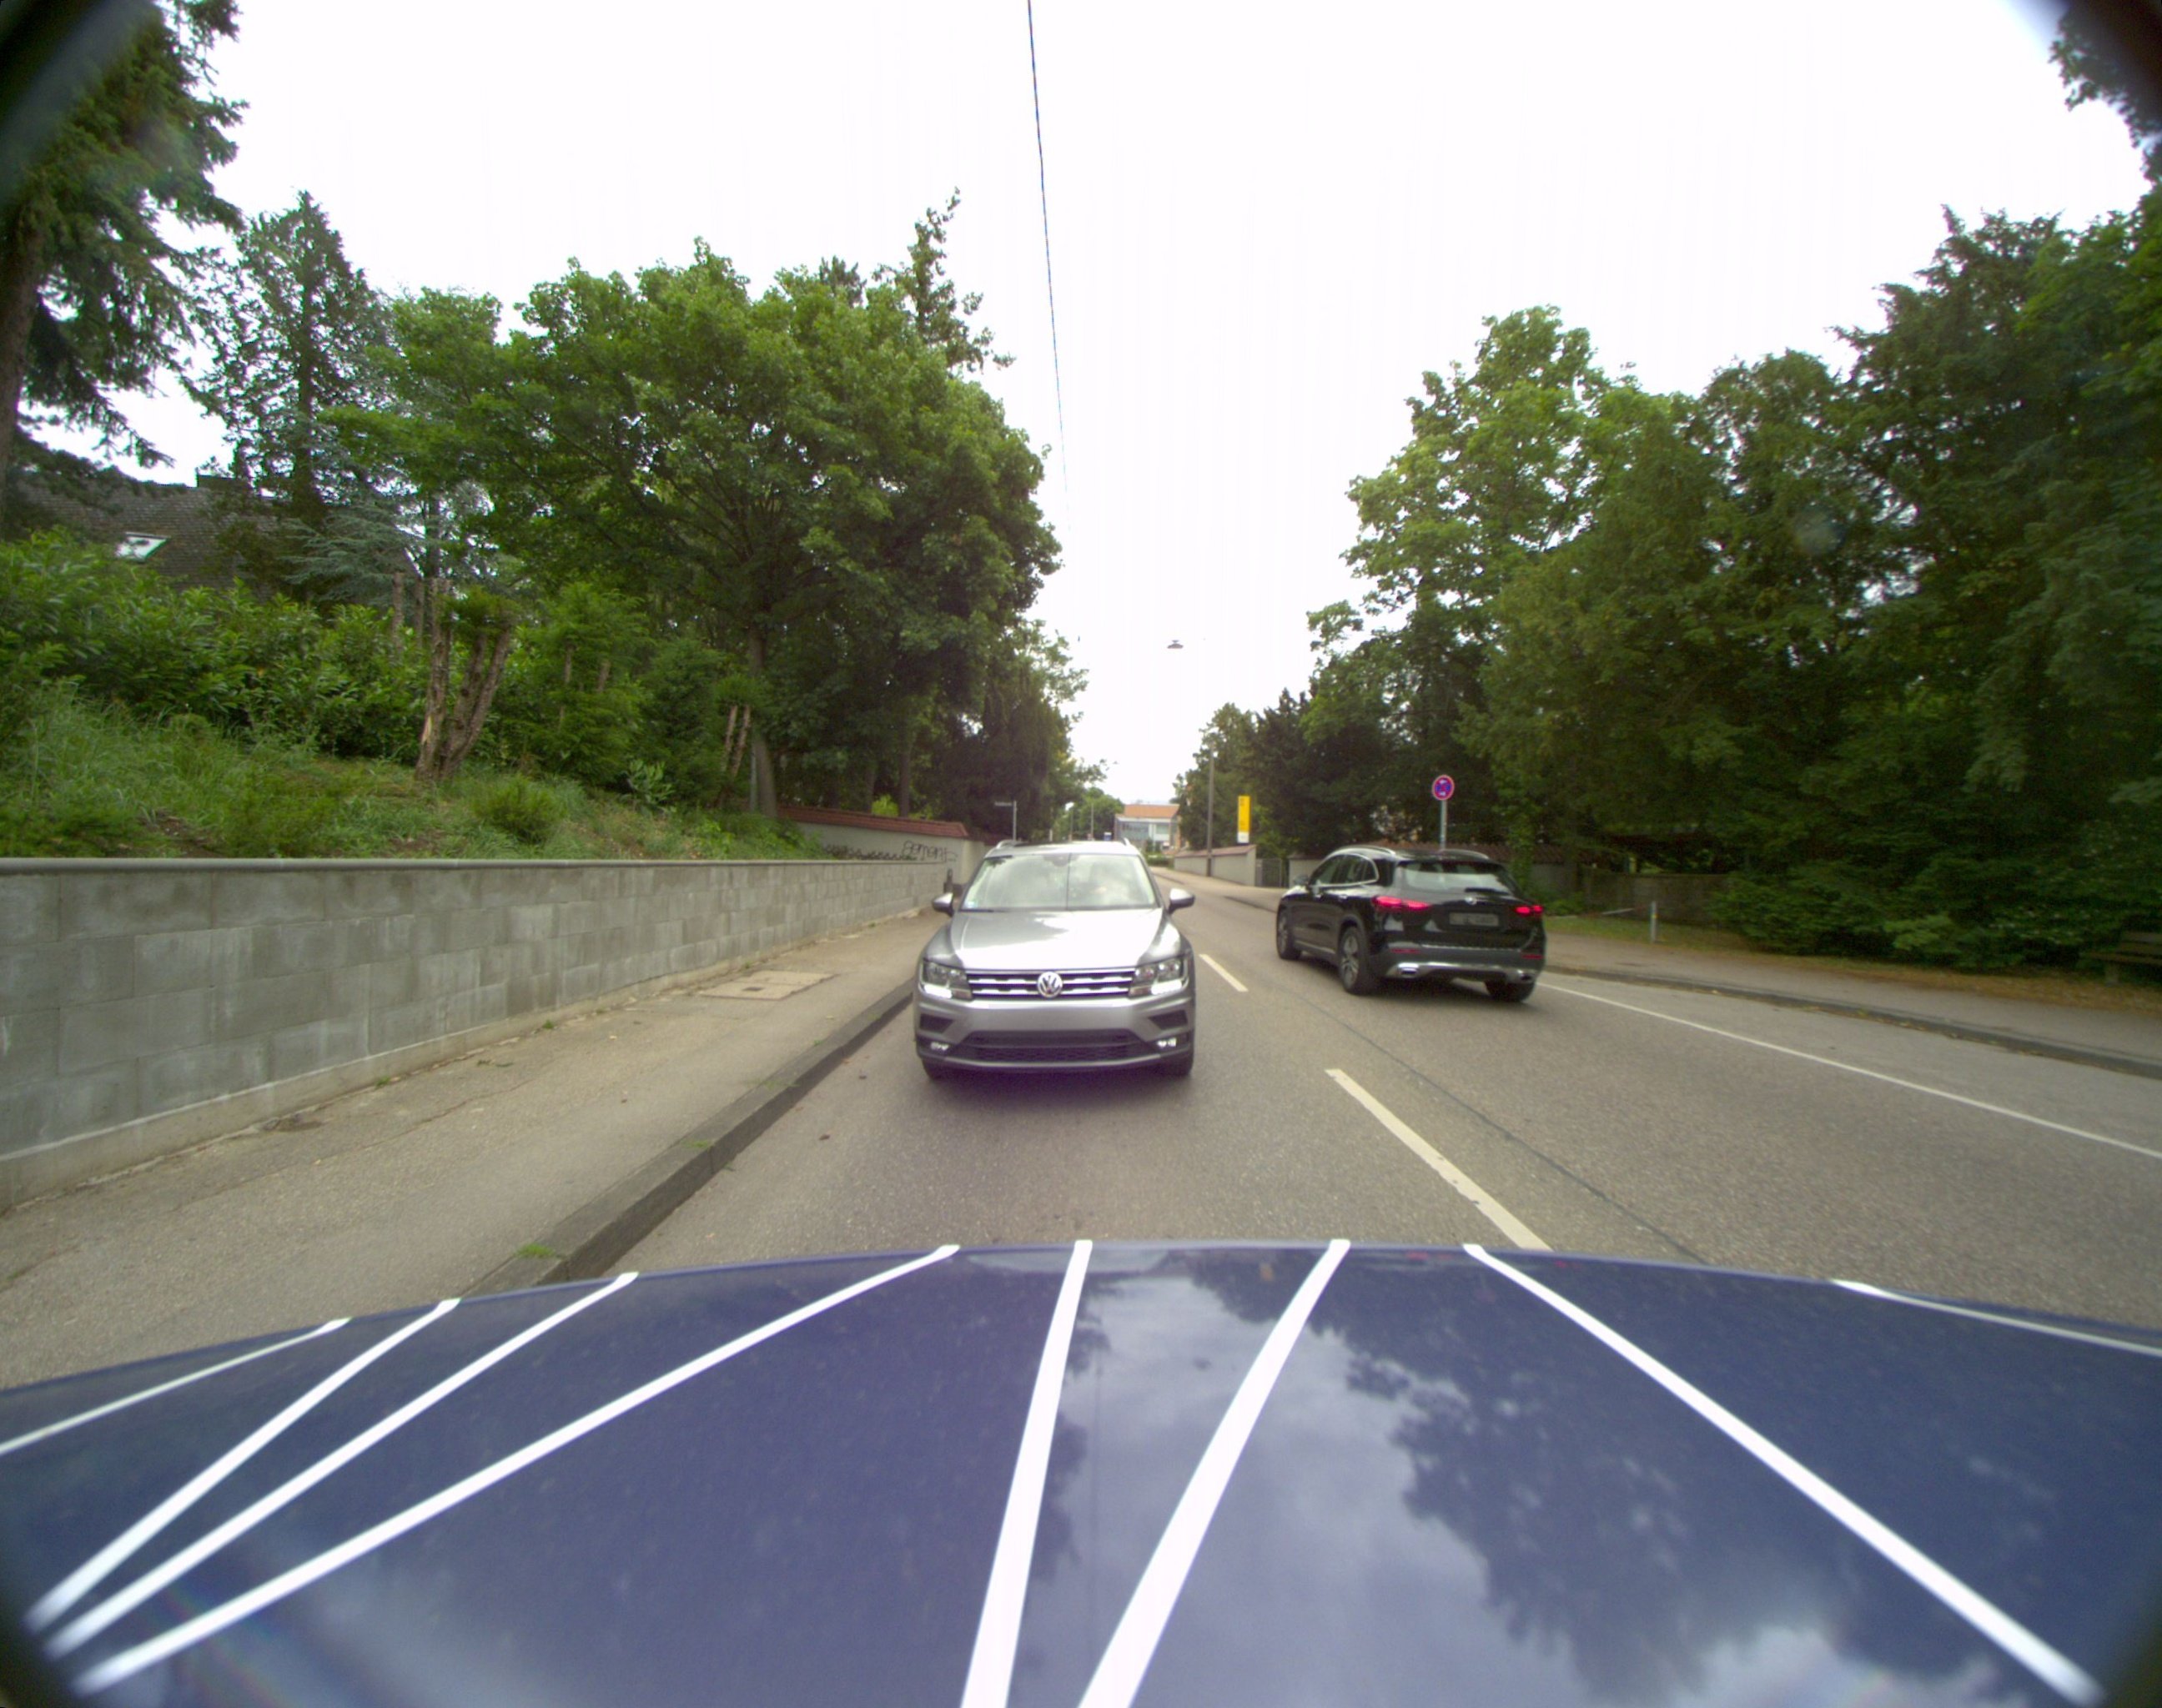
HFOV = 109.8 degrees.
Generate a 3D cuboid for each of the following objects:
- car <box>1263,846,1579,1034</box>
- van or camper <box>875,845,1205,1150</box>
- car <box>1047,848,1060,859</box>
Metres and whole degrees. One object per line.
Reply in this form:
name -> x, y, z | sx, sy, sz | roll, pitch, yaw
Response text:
car -> 3.659, 0.788, 9.191 | 1.864, 1.648, 4.306 | 3, 0, 1
van or camper -> -0.200, 0.776, 6.265 | 1.800, 1.663, 4.198 | 0, 0, 1
car -> -4.352, -0.147, 120.985 | 1.789, 1.644, 4.120 | 3, 0, 1
